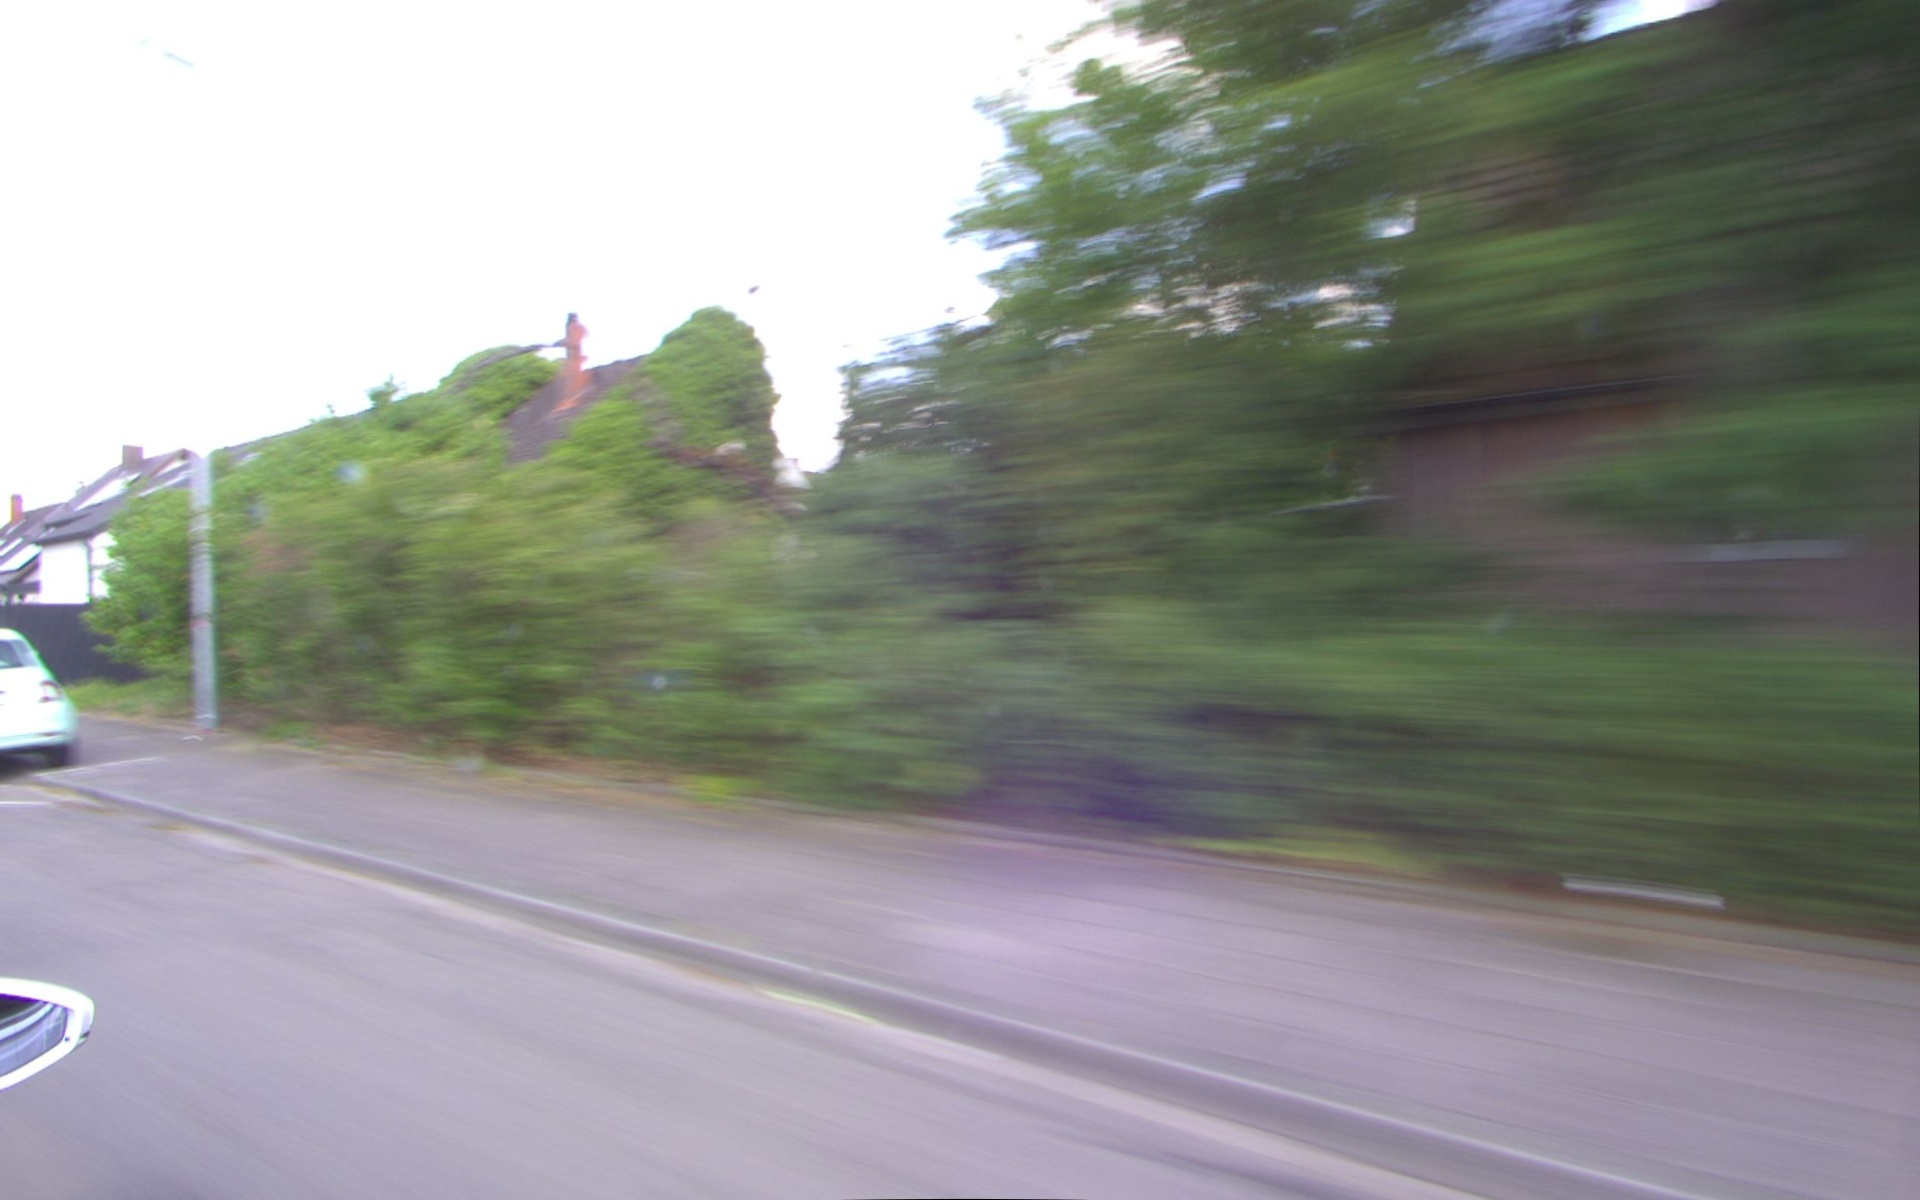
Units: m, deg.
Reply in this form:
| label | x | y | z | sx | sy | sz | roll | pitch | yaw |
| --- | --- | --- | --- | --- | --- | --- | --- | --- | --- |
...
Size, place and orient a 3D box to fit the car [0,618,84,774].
| label | x | y | z | sx | sy | sz | roll | pitch | yaw |
| --- | --- | --- | --- | --- | --- | --- | --- | --- | --- |
| car | -11.173 | 0.991 | 10.915 | 3.705 | 1.540 | 1.576 | -1 | 0 | 35 |
